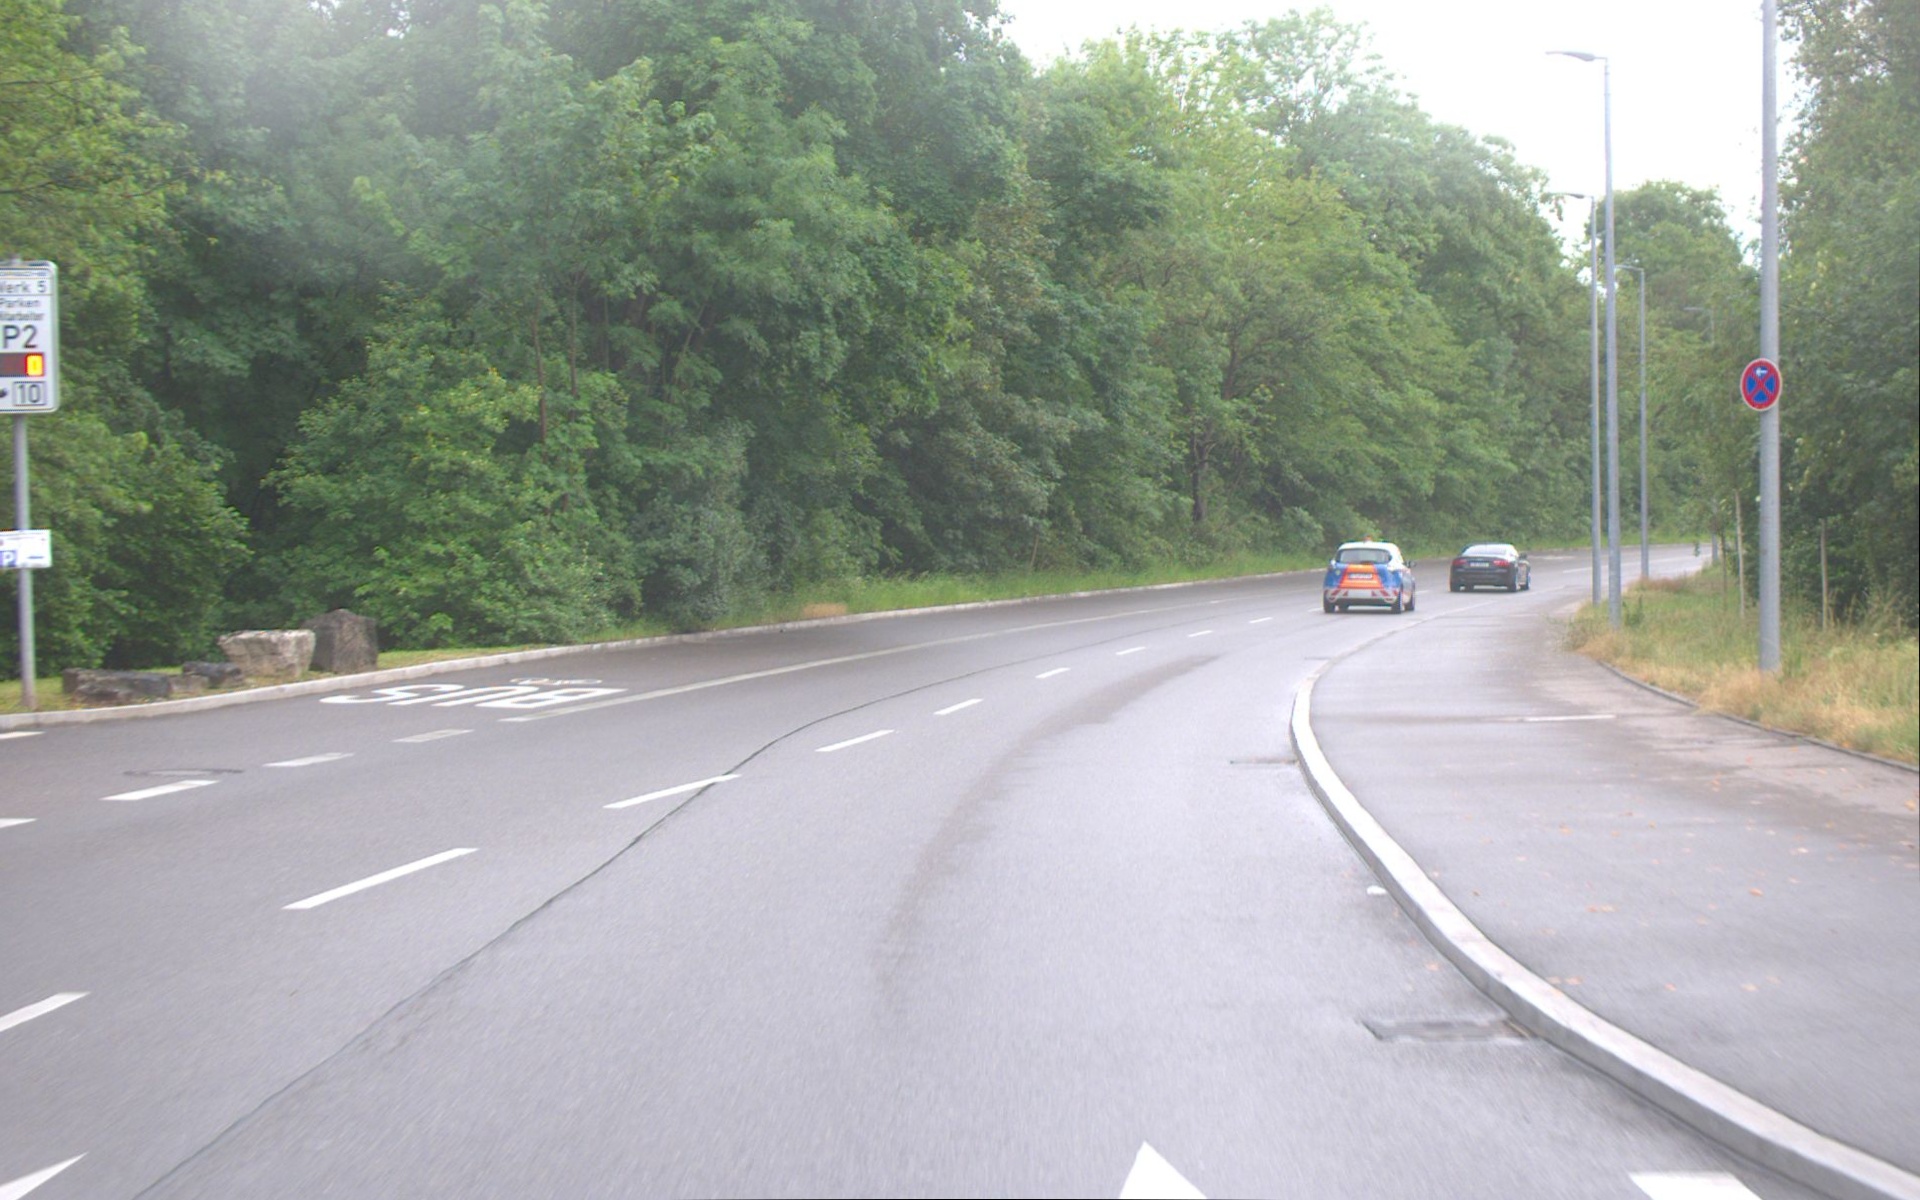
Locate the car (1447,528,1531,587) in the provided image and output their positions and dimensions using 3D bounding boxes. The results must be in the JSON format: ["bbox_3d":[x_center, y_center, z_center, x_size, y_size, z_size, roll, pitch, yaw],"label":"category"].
[{"bbox_3d":[14.951,-1.212,97.002,1.928,1.481,3.797,-1,3,14],"label":"car"}]

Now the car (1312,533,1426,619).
[{"bbox_3d":[9.146,-0.549,76.696,1.995,1.683,3.998,-1,3,14],"label":"car"}]
